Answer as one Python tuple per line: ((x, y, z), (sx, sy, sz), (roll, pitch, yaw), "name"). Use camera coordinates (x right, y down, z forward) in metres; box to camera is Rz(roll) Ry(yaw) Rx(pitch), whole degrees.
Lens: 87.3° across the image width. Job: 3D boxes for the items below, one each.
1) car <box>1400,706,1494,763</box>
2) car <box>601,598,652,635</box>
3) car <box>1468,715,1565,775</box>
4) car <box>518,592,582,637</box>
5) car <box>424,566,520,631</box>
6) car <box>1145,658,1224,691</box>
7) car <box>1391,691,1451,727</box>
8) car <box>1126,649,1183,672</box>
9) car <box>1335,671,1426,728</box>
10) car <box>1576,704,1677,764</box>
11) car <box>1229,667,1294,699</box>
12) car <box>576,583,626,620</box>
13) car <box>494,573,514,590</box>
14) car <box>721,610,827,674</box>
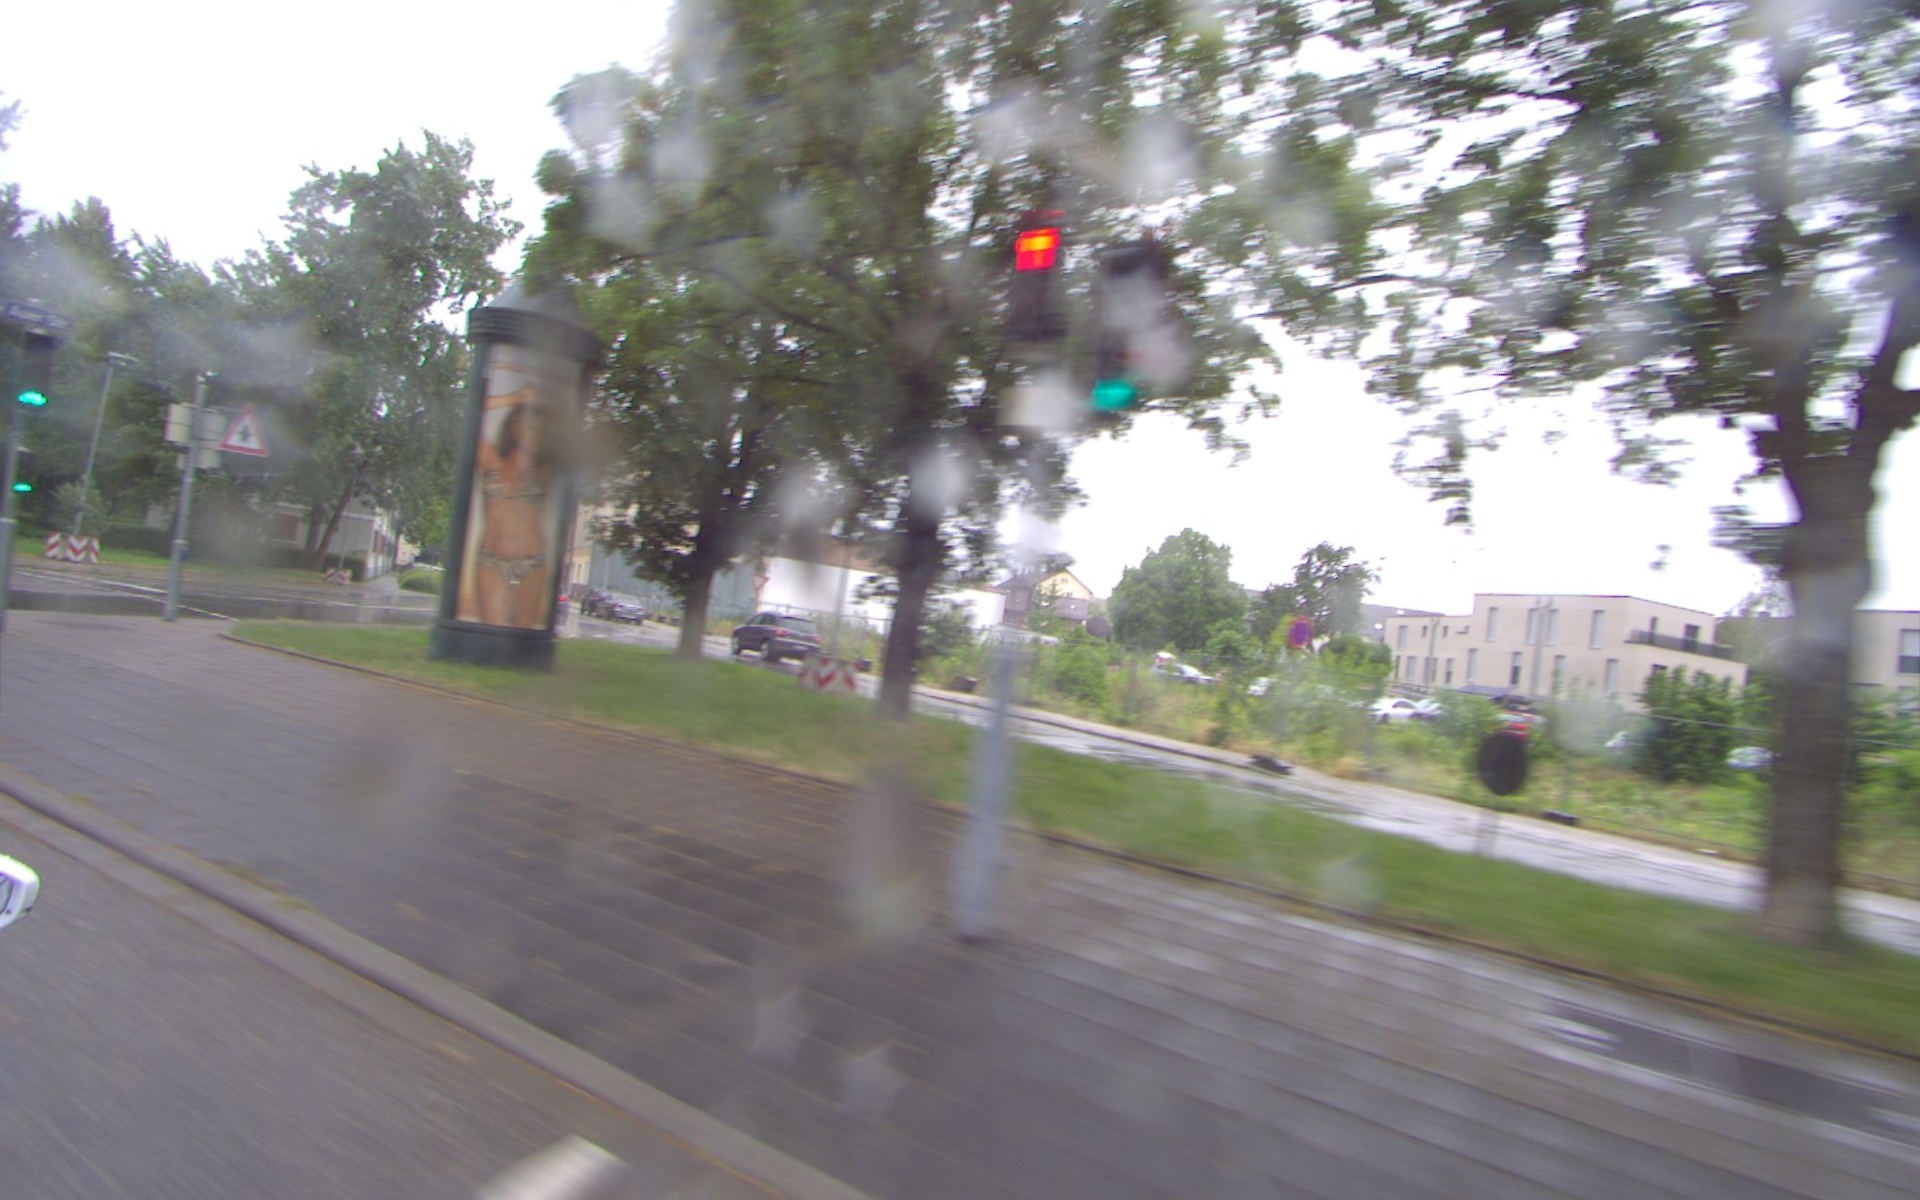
((20.467, 5.651, 42.222), (3.974, 1.880, 1.978), (10, -3, -40), "car")
((-17.798, 0.844, 53.552), (1.956, 1.566, 4.506), (9, -3, -24), "car")
((22.219, 5.800, 40.135), (3.974, 1.880, 1.978), (10, -3, -40), "car")
((-18.425, 0.624, 45.145), (1.980, 1.620, 4.059), (9, -3, -30), "car")
((-16.165, -0.022, 33.539), (1.970, 1.763, 4.293), (8, -3, -16), "car")
((12.555, 4.165, 56.414), (1.759, 1.280, 3.953), (10, -3, -42), "car")
((31.955, 7.540, 69.666), (3.960, 1.935, 1.659), (9, -3, -31), "car")
((13.499, 4.196, 69.955), (1.745, 1.148, 4.382), (9, -3, -21), "car")
((18.810, 4.460, 44.902), (3.973, 2.036, 1.978), (10, -3, -40), "car")
((24.160, 4.871, 36.417), (3.973, 1.702, 1.888), (10, -3, -40), "car")
((18.700, 5.144, 62.357), (4.374, 1.425, 1.748), (10, -3, -42), "car")
((-21.106, 0.075, 59.005), (1.863, 1.830, 4.059), (9, -3, -30), "car")
((-62.249, -2.521, 137.333), (1.979, 2.036, 3.974), (9, -3, -28), "car")
((-6.398, 1.393, 34.299), (1.844, 1.673, 4.267), (9, -3, -34), "car")
